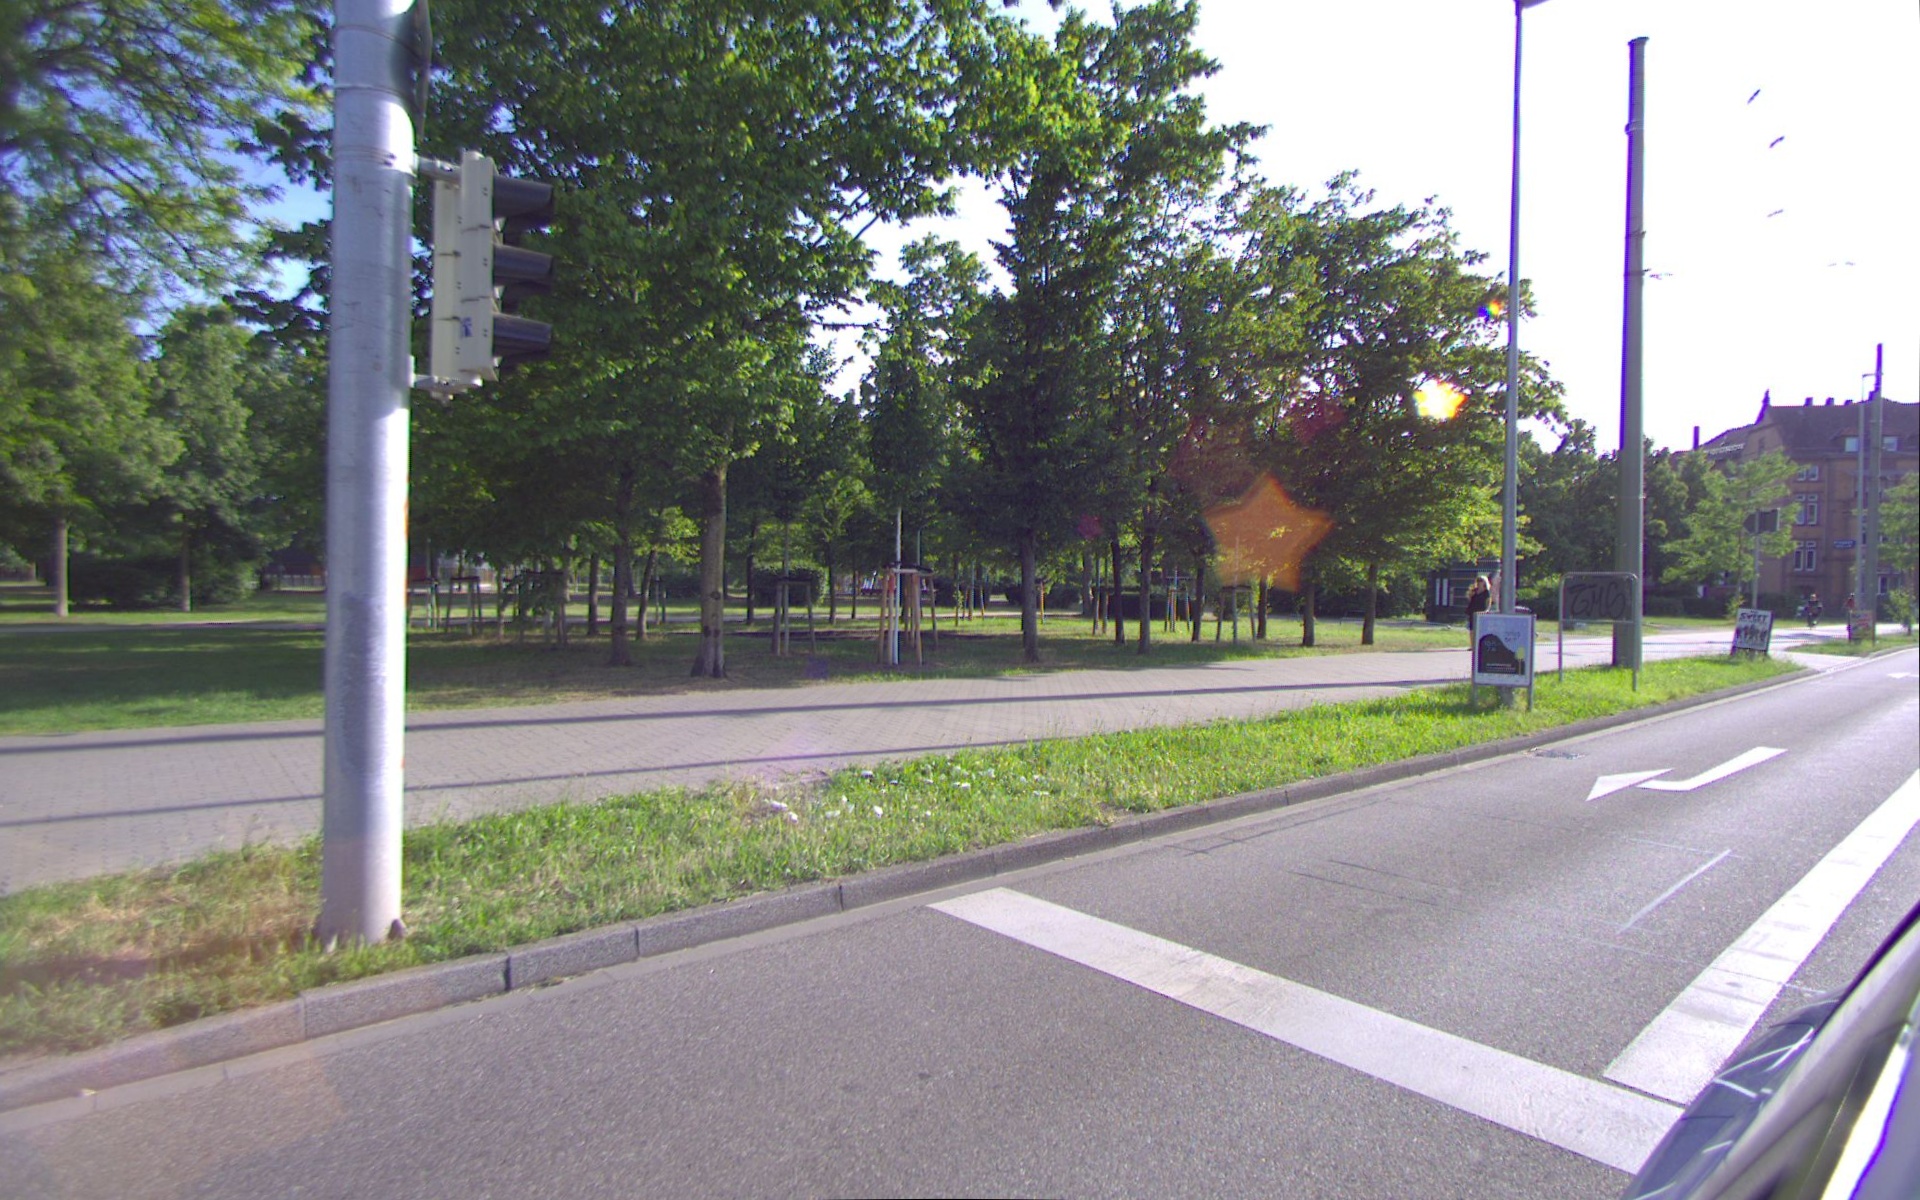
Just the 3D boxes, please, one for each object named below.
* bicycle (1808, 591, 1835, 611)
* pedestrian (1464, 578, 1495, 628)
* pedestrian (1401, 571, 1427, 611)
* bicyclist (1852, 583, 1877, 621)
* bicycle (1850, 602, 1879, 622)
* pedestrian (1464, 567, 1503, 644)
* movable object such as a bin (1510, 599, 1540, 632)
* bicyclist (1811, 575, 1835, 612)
[{"bbox_3d":[42.099,0.052,49.461,2.059,0.929,0.739,0,1,-43],"label":"bicycle"},{"bbox_3d":[17.555,0.095,34.205,0.609,1.672,0.664,1,1,-16],"label":"pedestrian"},{"bbox_3d":[25.248,-0.500,56.254,0.873,2.185,0.913,1,1,-29],"label":"pedestrian"},{"bbox_3d":[43.210,0.090,48.365,0.997,1.795,0.730,-2,2,-40],"label":"bicyclist"},{"bbox_3d":[43.342,0.568,48.474,2.057,0.929,0.740,0,1,-40],"label":"bicycle"},{"bbox_3d":[11.907,0.116,23.009,0.651,1.722,0.557,0,1,-42],"label":"pedestrian"},{"bbox_3d":[15.960,0.435,28.591,0.514,0.915,0.504,1,1,-2],"label":"movable object such as a bin"},{"bbox_3d":[42.245,-0.308,49.553,1.099,1.796,0.753,0,1,-42],"label":"bicyclist"}]
